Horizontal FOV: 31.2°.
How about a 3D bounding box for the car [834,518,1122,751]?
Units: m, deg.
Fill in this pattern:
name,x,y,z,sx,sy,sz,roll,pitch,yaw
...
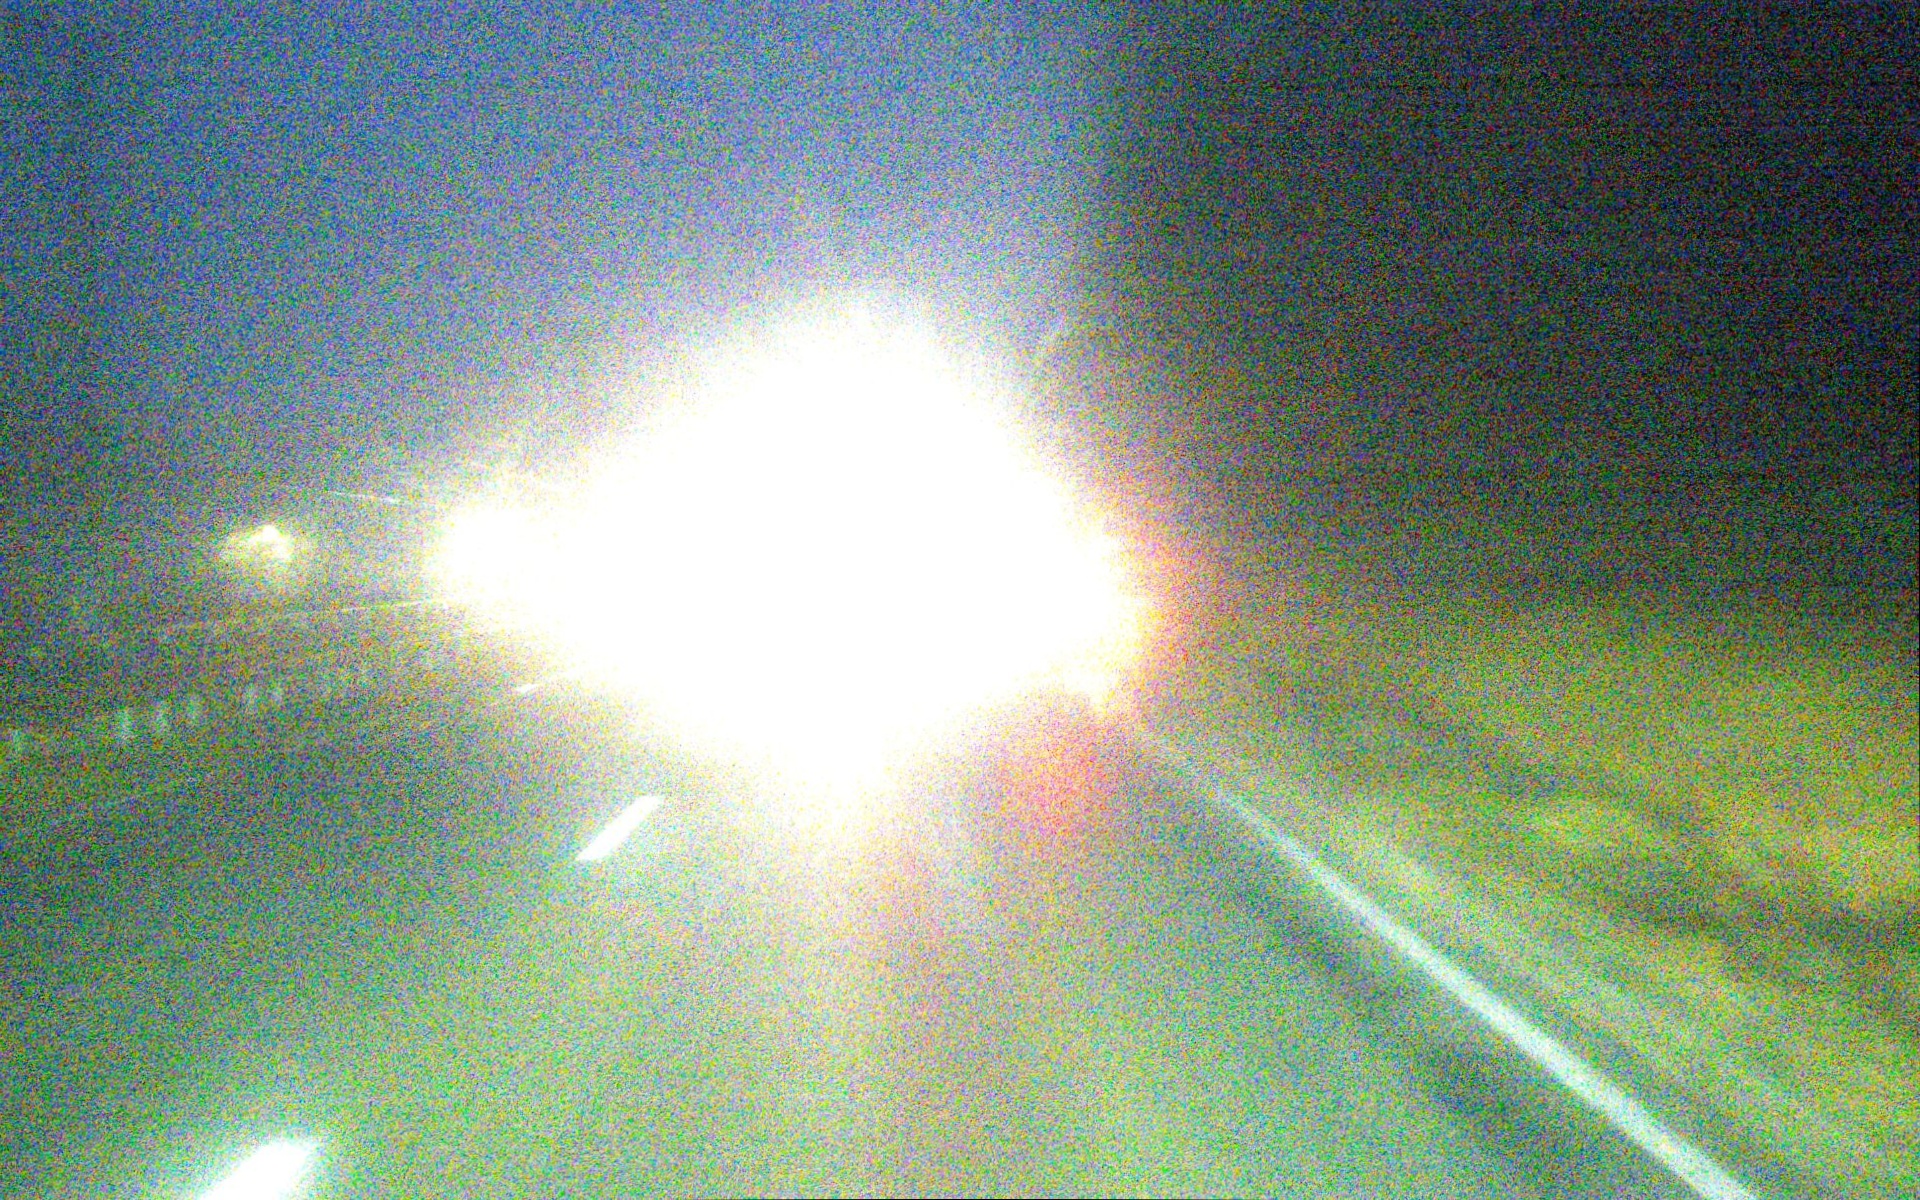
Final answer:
name,x,y,z,sx,sy,sz,roll,pitch,yaw
car,0.178,0.347,32.932,2.458,1.952,4.911,-3,-1,0
